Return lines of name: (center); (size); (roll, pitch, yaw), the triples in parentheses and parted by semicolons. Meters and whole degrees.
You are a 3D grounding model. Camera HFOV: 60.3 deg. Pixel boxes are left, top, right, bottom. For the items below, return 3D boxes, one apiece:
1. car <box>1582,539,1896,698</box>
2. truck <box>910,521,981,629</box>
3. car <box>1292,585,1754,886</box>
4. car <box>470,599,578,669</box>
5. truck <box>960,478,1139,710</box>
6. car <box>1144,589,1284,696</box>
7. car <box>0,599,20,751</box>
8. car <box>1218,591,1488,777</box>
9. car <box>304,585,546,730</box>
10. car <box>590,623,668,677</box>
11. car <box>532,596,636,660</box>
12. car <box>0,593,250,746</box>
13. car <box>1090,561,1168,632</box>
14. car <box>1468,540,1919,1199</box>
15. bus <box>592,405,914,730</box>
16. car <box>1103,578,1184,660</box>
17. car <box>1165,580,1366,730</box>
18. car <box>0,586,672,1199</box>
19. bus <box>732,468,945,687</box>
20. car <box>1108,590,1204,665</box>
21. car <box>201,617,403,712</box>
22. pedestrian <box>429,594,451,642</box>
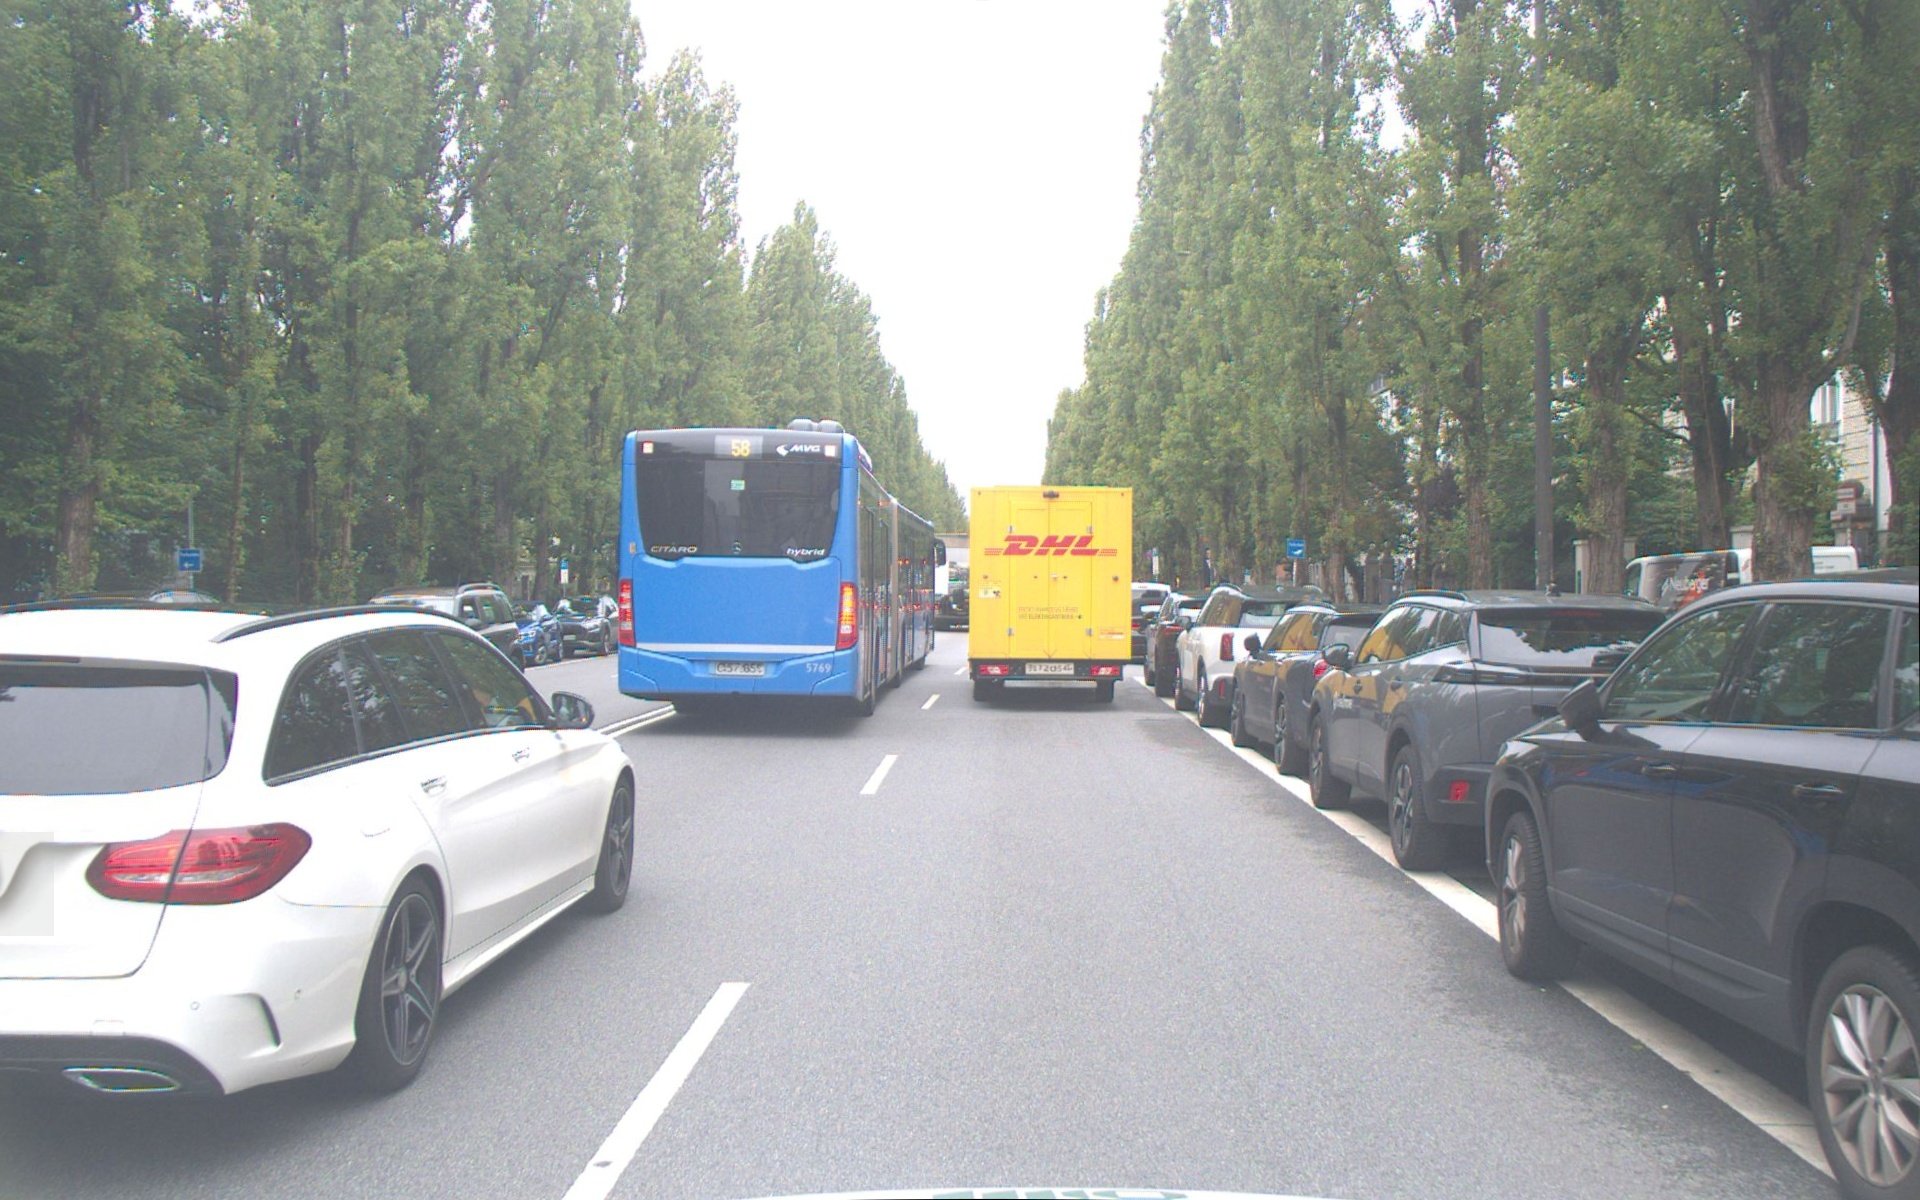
car: (10.641, 0.226, 23.142); (1.952, 1.959, 5.324); (0, 0, 1)
truck: (-0.571, -0.968, 67.336); (2.660, 4.034, 9.217); (-1, 0, 0)
car: (3.302, 0.687, 10.544); (1.617, 1.530, 4.114); (0, 0, 1)
car: (-10.612, 0.790, 40.509); (1.708, 1.545, 4.115); (-2, 0, -4)
truck: (1.224, -0.089, 24.873); (2.279, 2.949, 7.334); (0, 0, 1)
car: (3.879, 0.600, 25.849); (1.689, 1.521, 4.325); (0, 0, 2)
car: (-11.241, 0.869, 15.815); (1.748, 1.616, 4.463); (-3, 0, 2)
car: (3.522, 0.678, 15.542); (1.599, 1.471, 4.149); (2, 0, 1)
car: (-6.980, 0.685, 22.033); (1.748, 1.685, 4.114); (-2, 0, 1)
car: (-10.230, 1.523, 51.400); (1.508, 1.458, 3.870); (-4, 0, 1)
car: (-10.340, 0.734, 45.797); (1.754, 1.575, 4.339); (-4, 0, 1)
car: (-11.158, 0.818, 21.335); (1.841, 1.687, 4.718); (-3, 0, 0)
car: (5.127, -0.127, 50.868); (2.010, 2.049, 5.694); (-1, 0, 2)
car: (3.104, 0.668, 5.227); (1.783, 1.618, 4.224); (0, 0, 1)
bus: (-2.211, -0.357, 21.174); (2.797, 3.270, 9.061); (0, 0, 1)
car: (4.660, 0.452, 42.472); (1.768, 2.011, 4.238); (0, 0, 2)
car: (3.611, 0.592, 20.235); (1.744, 1.609, 4.147); (1, 0, 1)
car: (-2.433, 0.702, 6.086); (1.788, 1.480, 4.584); (0, 0, 2)
bus: (-1.932, -0.367, 30.529); (2.812, 3.361, 9.792); (-1, 0, 2)
car: (4.317, 0.574, 36.964); (1.824, 1.579, 4.001); (0, 0, 2)
car: (-10.773, 1.015, 27.377); (1.547, 1.327, 4.030); (-3, 0, 2)
pedestrian: (-19.300, 0.663, 61.360); (0.587, 1.769, 0.640); (-1, 0, 2)
